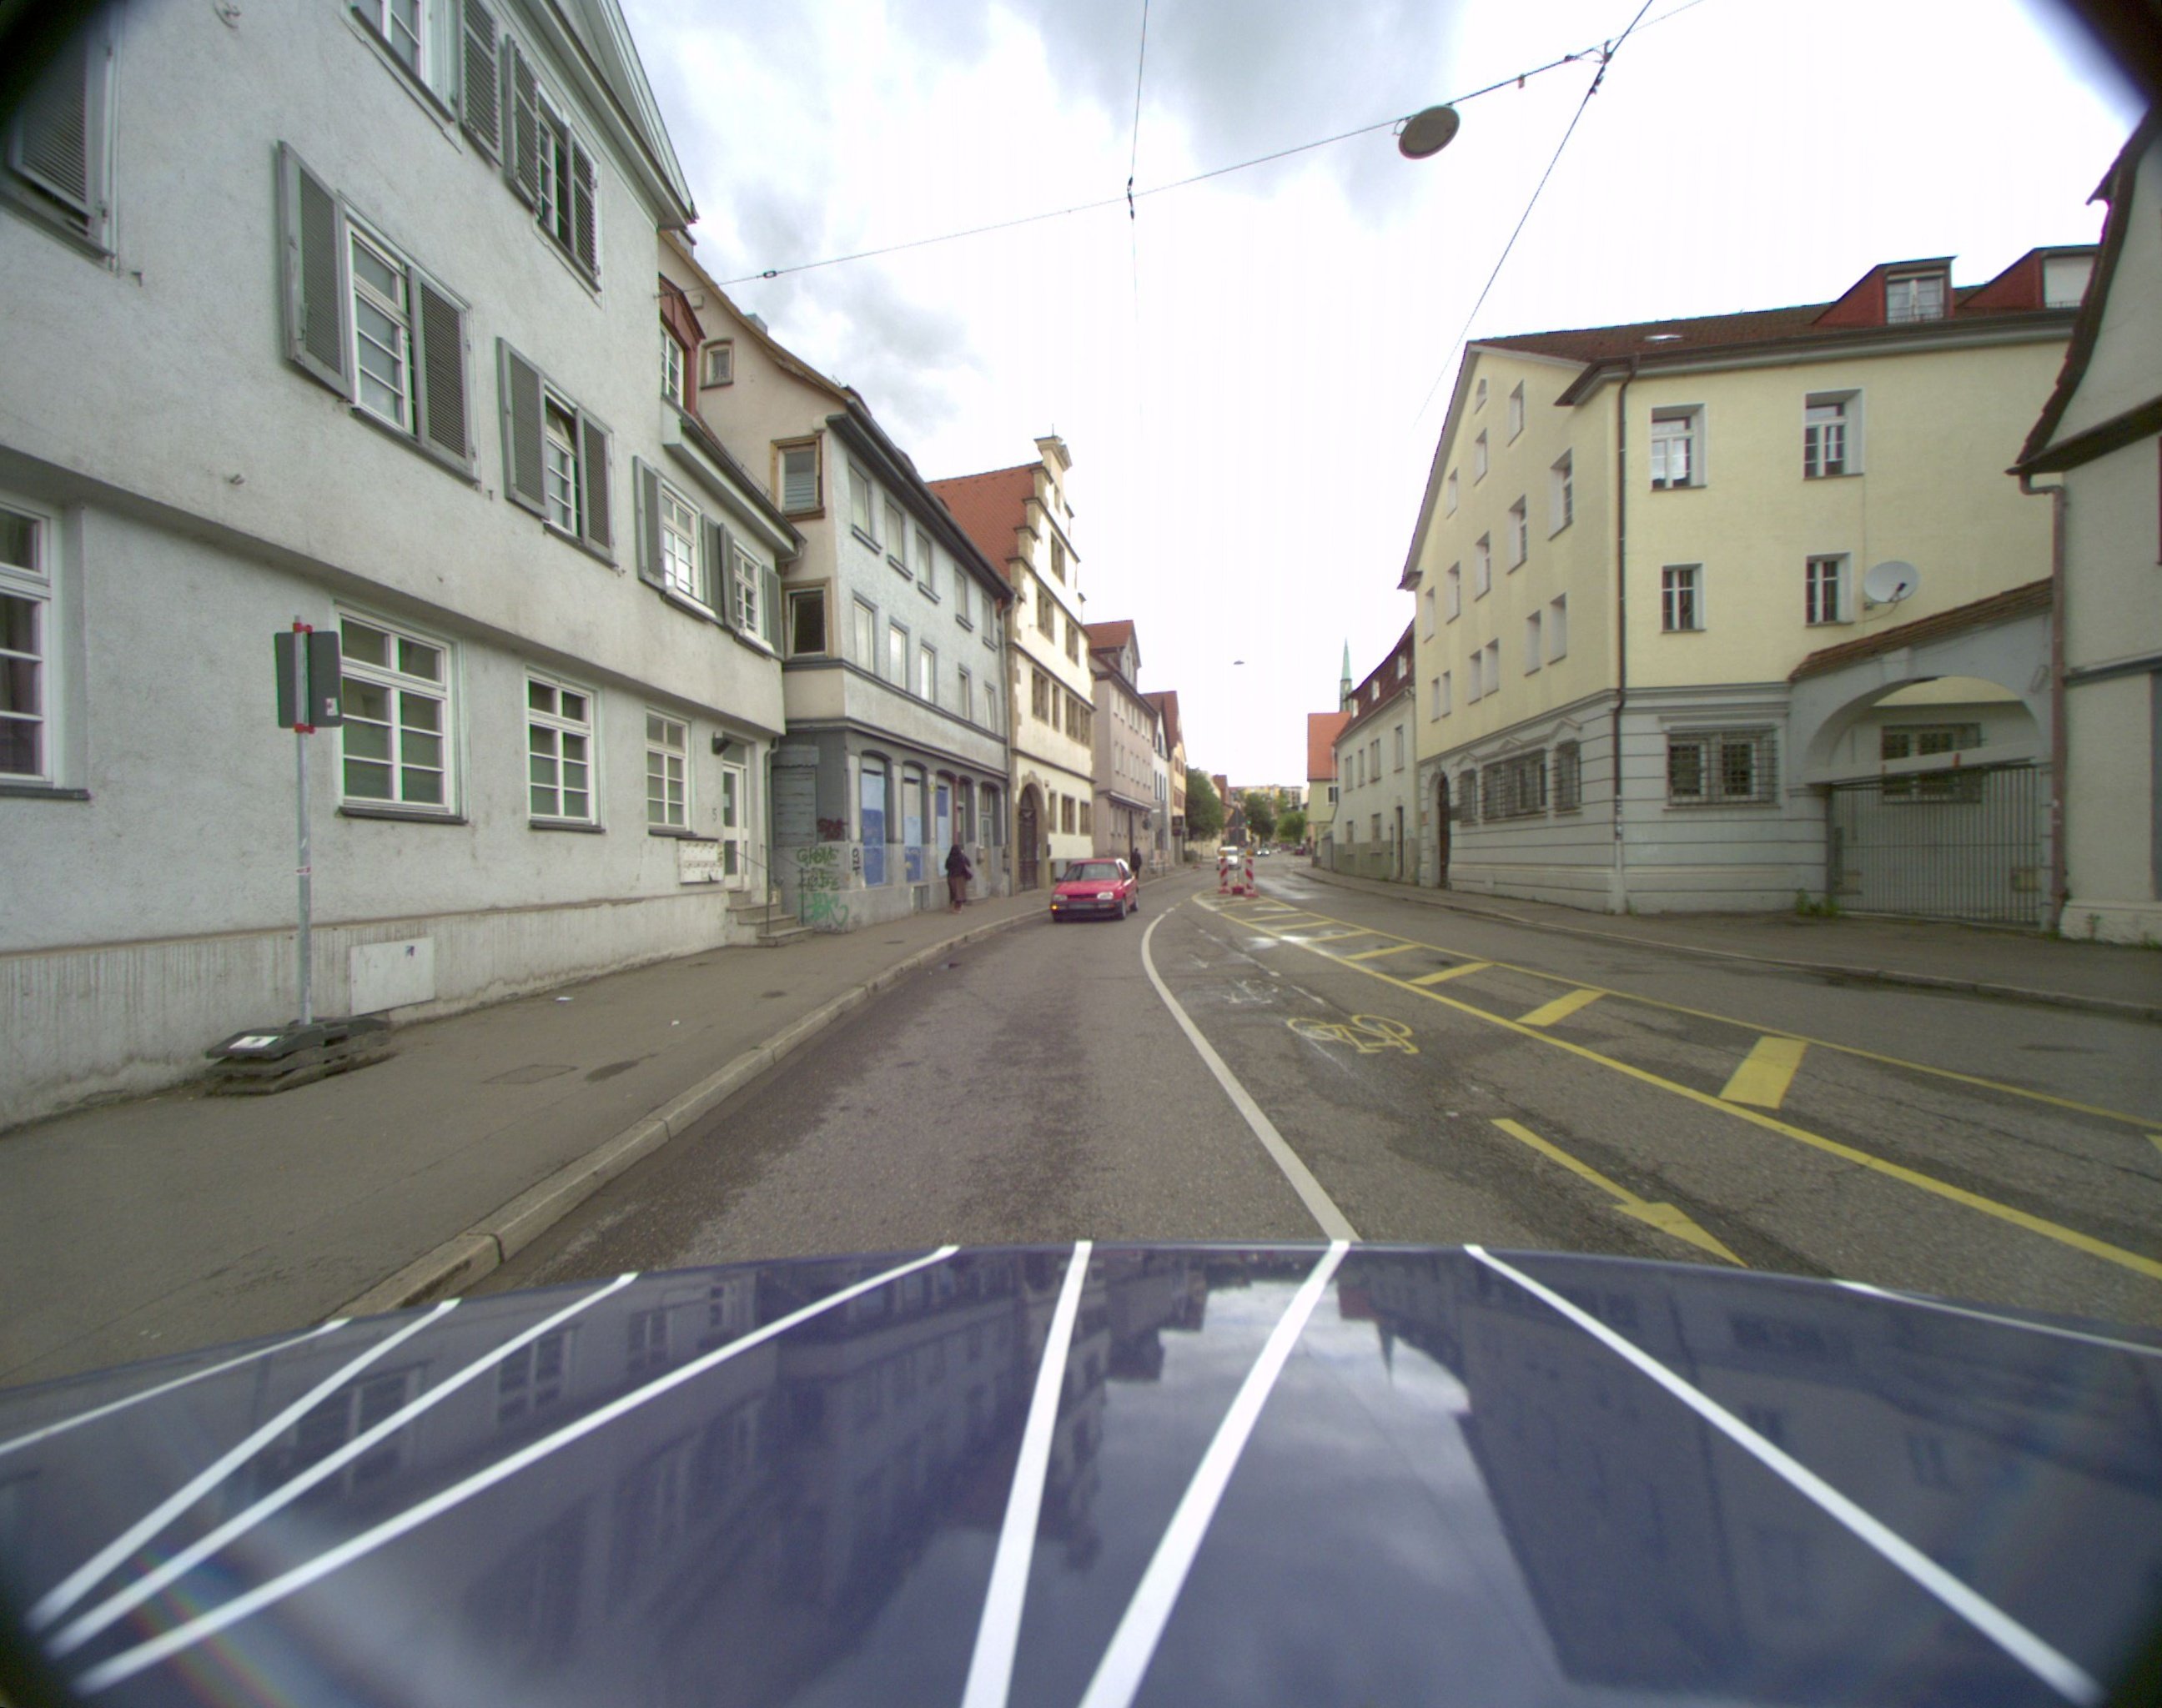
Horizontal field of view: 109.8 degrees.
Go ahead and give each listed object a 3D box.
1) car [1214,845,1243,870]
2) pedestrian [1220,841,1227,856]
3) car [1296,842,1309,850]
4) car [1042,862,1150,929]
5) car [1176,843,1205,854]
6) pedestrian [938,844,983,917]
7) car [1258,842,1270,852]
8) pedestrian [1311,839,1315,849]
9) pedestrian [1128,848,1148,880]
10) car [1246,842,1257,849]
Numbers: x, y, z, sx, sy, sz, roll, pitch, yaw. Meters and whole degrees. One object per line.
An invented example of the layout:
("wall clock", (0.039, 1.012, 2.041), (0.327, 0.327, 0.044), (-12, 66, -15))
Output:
("car", (11.672, 0.234, 59.908), (1.996, 1.777, 4.471), (0, 2, 14))
("pedestrian", (22.601, -0.891, 120.485), (0.901, 2.297, 0.821), (-1, 0, 13))
("car", (42.641, -1.565, 146.545), (2.210, 1.668, 4.502), (0, 1, 14))
("car", (0.486, 0.921, 18.445), (1.683, 1.418, 4.026), (-1, 0, 15))
("car", (16.283, -0.824, 113.374), (3.992, 1.455, 2.002), (-1, 1, 17))
("pedestrian", (-2.814, 0.605, 17.825), (0.756, 1.658, 0.810), (3, 1, 10))
("car", (32.093, -1.275, 133.179), (1.996, 1.669, 4.004), (-1, 1, 15))
("pedestrian", (45.616, -1.913, 149.444), (0.835, 2.002, 0.846), (-1, 0, 13))
("pedestrian", (2.951, 0.508, 39.506), (0.833, 1.646, 0.945), (-1, 0, 15))
("car", (34.630, -1.767, 153.968), (1.819, 1.380, 4.005), (0, 1, 17))
